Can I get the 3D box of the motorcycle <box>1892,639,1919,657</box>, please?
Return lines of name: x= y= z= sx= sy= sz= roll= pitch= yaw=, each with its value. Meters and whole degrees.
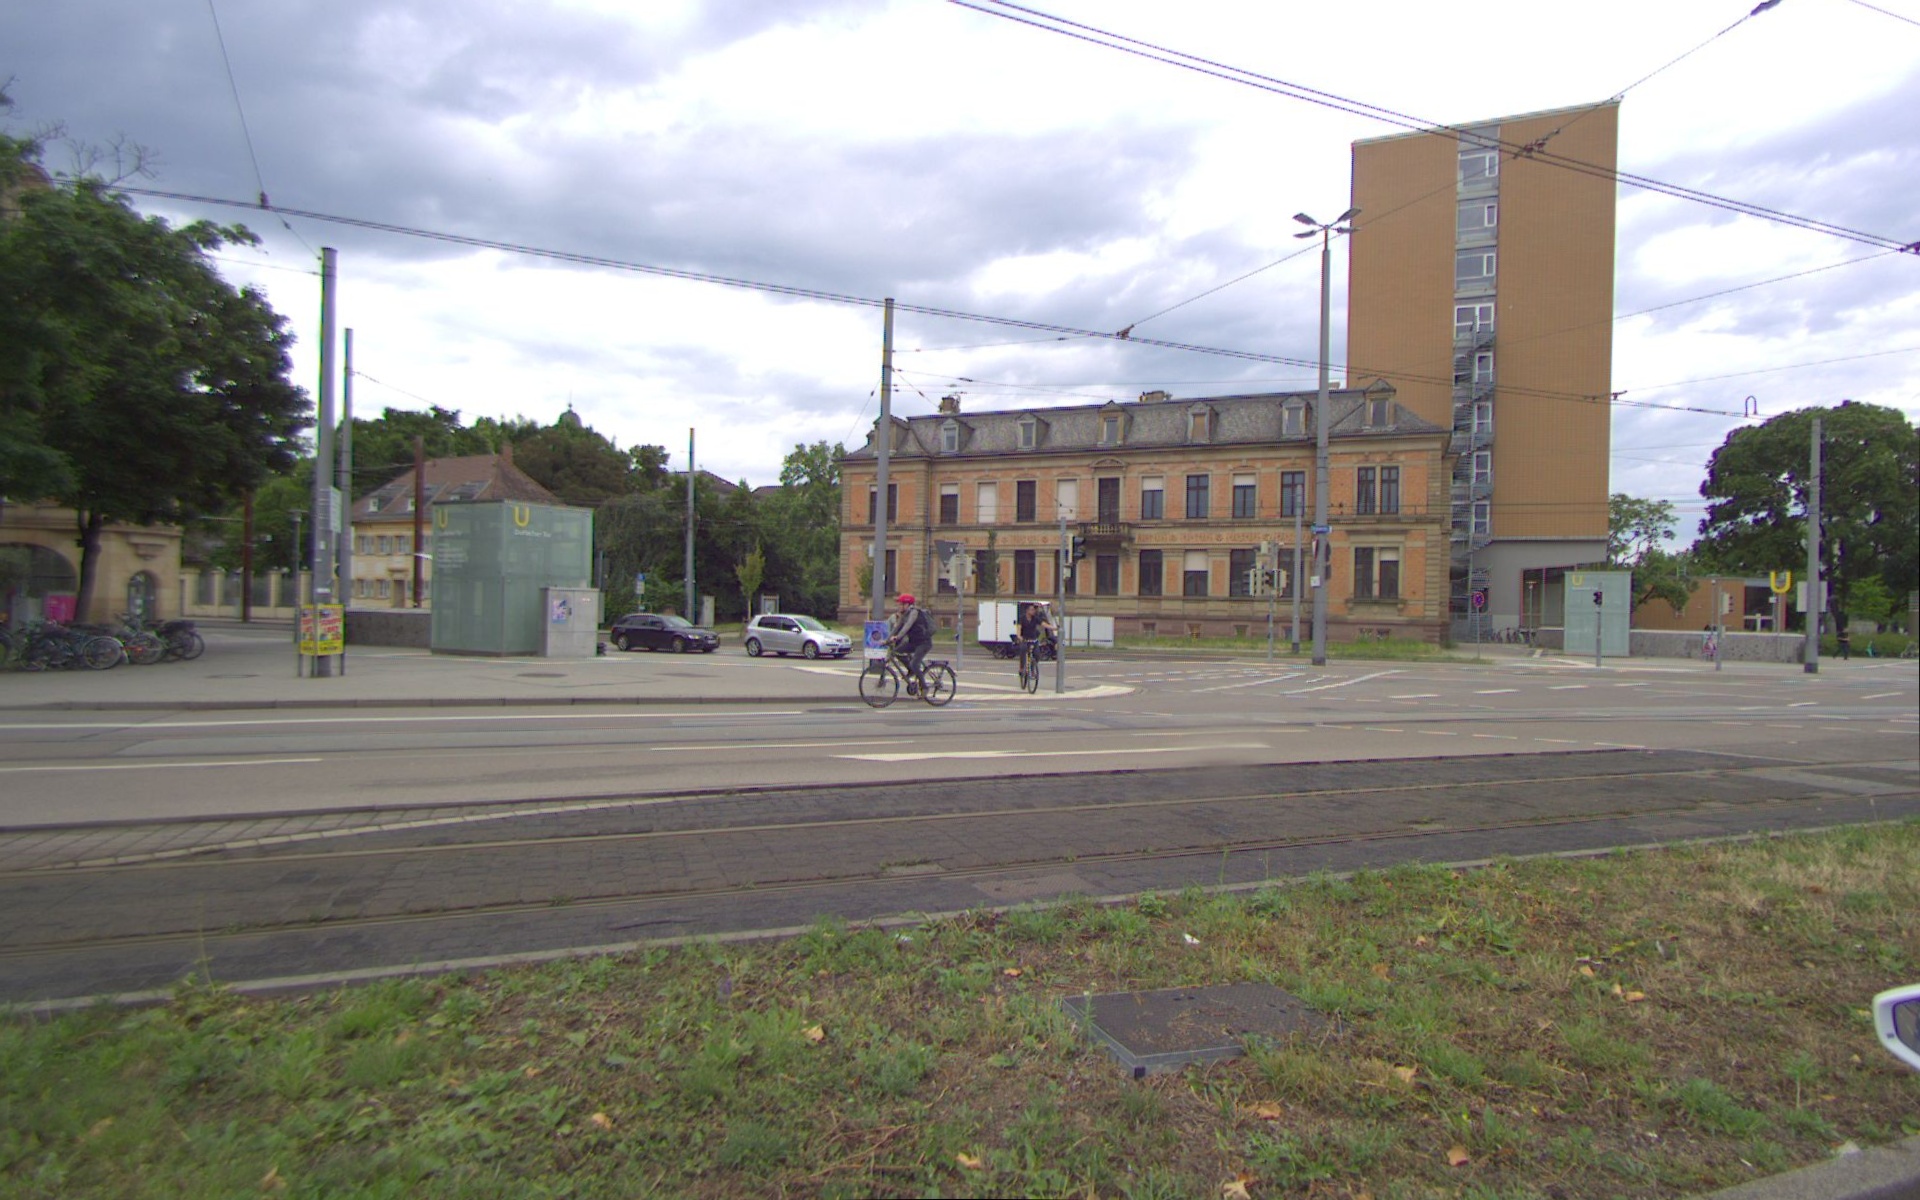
motorcycle: x=59.242 y=2.990 z=62.728 sx=1.712 sy=1.126 sz=0.511 roll=1 pitch=0 yaw=-8

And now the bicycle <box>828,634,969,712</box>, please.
bicycle: x=-1.014 y=1.193 z=16.785 sx=2.206 sy=1.224 sz=0.820 roll=1 pitch=-1 yaw=-28

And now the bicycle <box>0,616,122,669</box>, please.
bicycle: x=-17.989 y=0.843 z=19.974 sx=2.002 sy=1.000 sz=0.520 roll=1 pitch=0 yaw=-12

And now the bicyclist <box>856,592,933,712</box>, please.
bicyclist: x=-1.094 y=0.854 z=16.740 sx=1.036 sy=1.917 sz=0.826 roll=1 pitch=-1 yaw=-28

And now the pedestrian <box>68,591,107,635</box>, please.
pedestrian: x=-34.886 y=0.518 z=40.176 sx=0.834 sy=1.745 sz=0.948 roll=1 pitch=0 yaw=-18

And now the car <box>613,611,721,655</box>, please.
car: x=-11.059 y=1.205 z=37.821 sx=4.073 sy=1.468 sz=1.692 roll=1 pitch=0 yaw=34

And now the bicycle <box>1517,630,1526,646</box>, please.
bicycle: x=40.124 y=2.706 z=71.719 sx=0.473 sy=1.063 sz=1.426 roll=1 pitch=0 yaw=26

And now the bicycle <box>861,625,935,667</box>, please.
bicycle: x=-1.906 y=1.399 z=30.858 sx=2.158 sy=1.224 sz=0.856 roll=1 pitch=-1 yaw=29

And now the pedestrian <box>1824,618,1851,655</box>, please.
pedestrian: x=49.618 y=2.071 z=56.785 sx=0.839 sy=2.040 sz=1.012 roll=1 pitch=0 yaw=-40

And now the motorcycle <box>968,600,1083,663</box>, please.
motorcycle: x=2.292 y=1.063 z=35.093 sx=3.620 sy=2.040 sz=1.693 roll=1 pitch=0 yaw=28

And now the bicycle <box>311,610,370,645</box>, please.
bicycle: x=-21.390 y=0.939 z=34.661 sx=2.321 sy=1.130 sz=0.738 roll=1 pitch=0 yaw=32

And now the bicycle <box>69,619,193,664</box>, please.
bicycle: x=-18.973 y=0.951 z=23.027 sx=2.182 sy=1.000 sz=0.499 roll=1 pitch=0 yaw=-12

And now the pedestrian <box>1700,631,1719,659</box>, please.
pedestrian: x=36.308 y=2.173 z=48.658 sx=0.562 sy=1.353 sz=0.499 roll=1 pitch=0 yaw=19

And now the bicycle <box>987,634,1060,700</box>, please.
bicycle: x=1.269 y=1.342 z=20.561 sx=0.803 sy=1.259 sz=1.992 roll=2 pitch=-2 yaw=-18

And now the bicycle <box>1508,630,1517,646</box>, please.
bicycle: x=39.576 y=2.716 z=71.934 sx=0.500 sy=1.063 sz=1.426 roll=1 pitch=0 yaw=26

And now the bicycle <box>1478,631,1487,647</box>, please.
bicycle: x=37.853 y=2.802 z=72.757 sx=0.562 sy=1.120 sz=1.426 roll=1 pitch=0 yaw=26

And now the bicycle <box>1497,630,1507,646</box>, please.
bicycle: x=38.991 y=2.703 z=72.230 sx=0.562 sy=1.120 sz=1.426 roll=1 pitch=0 yaw=26

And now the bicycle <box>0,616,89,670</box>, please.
bicycle: x=-17.908 y=0.824 z=19.218 sx=1.837 sy=1.000 sz=0.499 roll=1 pitch=0 yaw=-13

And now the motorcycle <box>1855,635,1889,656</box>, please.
motorcycle: x=57.149 y=2.837 z=62.940 sx=1.444 sy=1.285 sz=0.511 roll=1 pitch=0 yaw=24

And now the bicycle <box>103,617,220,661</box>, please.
bicycle: x=-19.894 y=0.966 z=25.068 sx=2.182 sy=1.052 sz=0.687 roll=1 pitch=0 yaw=-12

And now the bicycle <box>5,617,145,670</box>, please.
bicycle: x=-18.061 y=0.886 z=20.536 sx=2.182 sy=1.019 sz=0.479 roll=1 pitch=0 yaw=-12

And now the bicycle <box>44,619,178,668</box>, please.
bicycle: x=-18.014 y=0.928 z=21.340 sx=2.182 sy=1.000 sz=0.499 roll=1 pitch=0 yaw=-12

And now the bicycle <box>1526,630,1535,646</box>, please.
bicycle: x=40.588 y=2.699 z=71.482 sx=0.473 sy=1.063 sz=1.426 roll=1 pitch=0 yaw=26

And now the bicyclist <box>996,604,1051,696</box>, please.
bicyclist: x=1.292 y=0.997 z=20.537 sx=0.803 sy=1.822 sz=1.025 roll=0 pitch=0 yaw=-19

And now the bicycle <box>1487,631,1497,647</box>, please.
bicycle: x=38.381 y=2.823 z=72.499 sx=0.562 sy=1.120 sz=1.426 roll=1 pitch=0 yaw=26

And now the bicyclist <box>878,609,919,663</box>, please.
bicyclist: x=-1.893 y=1.099 z=30.862 sx=0.901 sy=1.644 sz=0.854 roll=1 pitch=-1 yaw=29

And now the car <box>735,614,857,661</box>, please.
car: x=-5.739 y=1.272 z=35.052 sx=4.089 sy=1.473 sz=1.757 roll=1 pitch=0 yaw=33

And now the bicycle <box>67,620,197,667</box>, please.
bicycle: x=-18.516 y=0.968 z=22.504 sx=2.182 sy=1.000 sz=0.609 roll=1 pitch=0 yaw=-12

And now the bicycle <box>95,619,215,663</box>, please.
bicycle: x=-19.207 y=0.988 z=23.994 sx=2.182 sy=1.000 sz=0.584 roll=1 pitch=0 yaw=-12

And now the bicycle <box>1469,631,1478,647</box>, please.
bicycle: x=37.323 y=2.795 z=73.019 sx=0.562 sy=1.120 sz=1.426 roll=1 pitch=0 yaw=26
